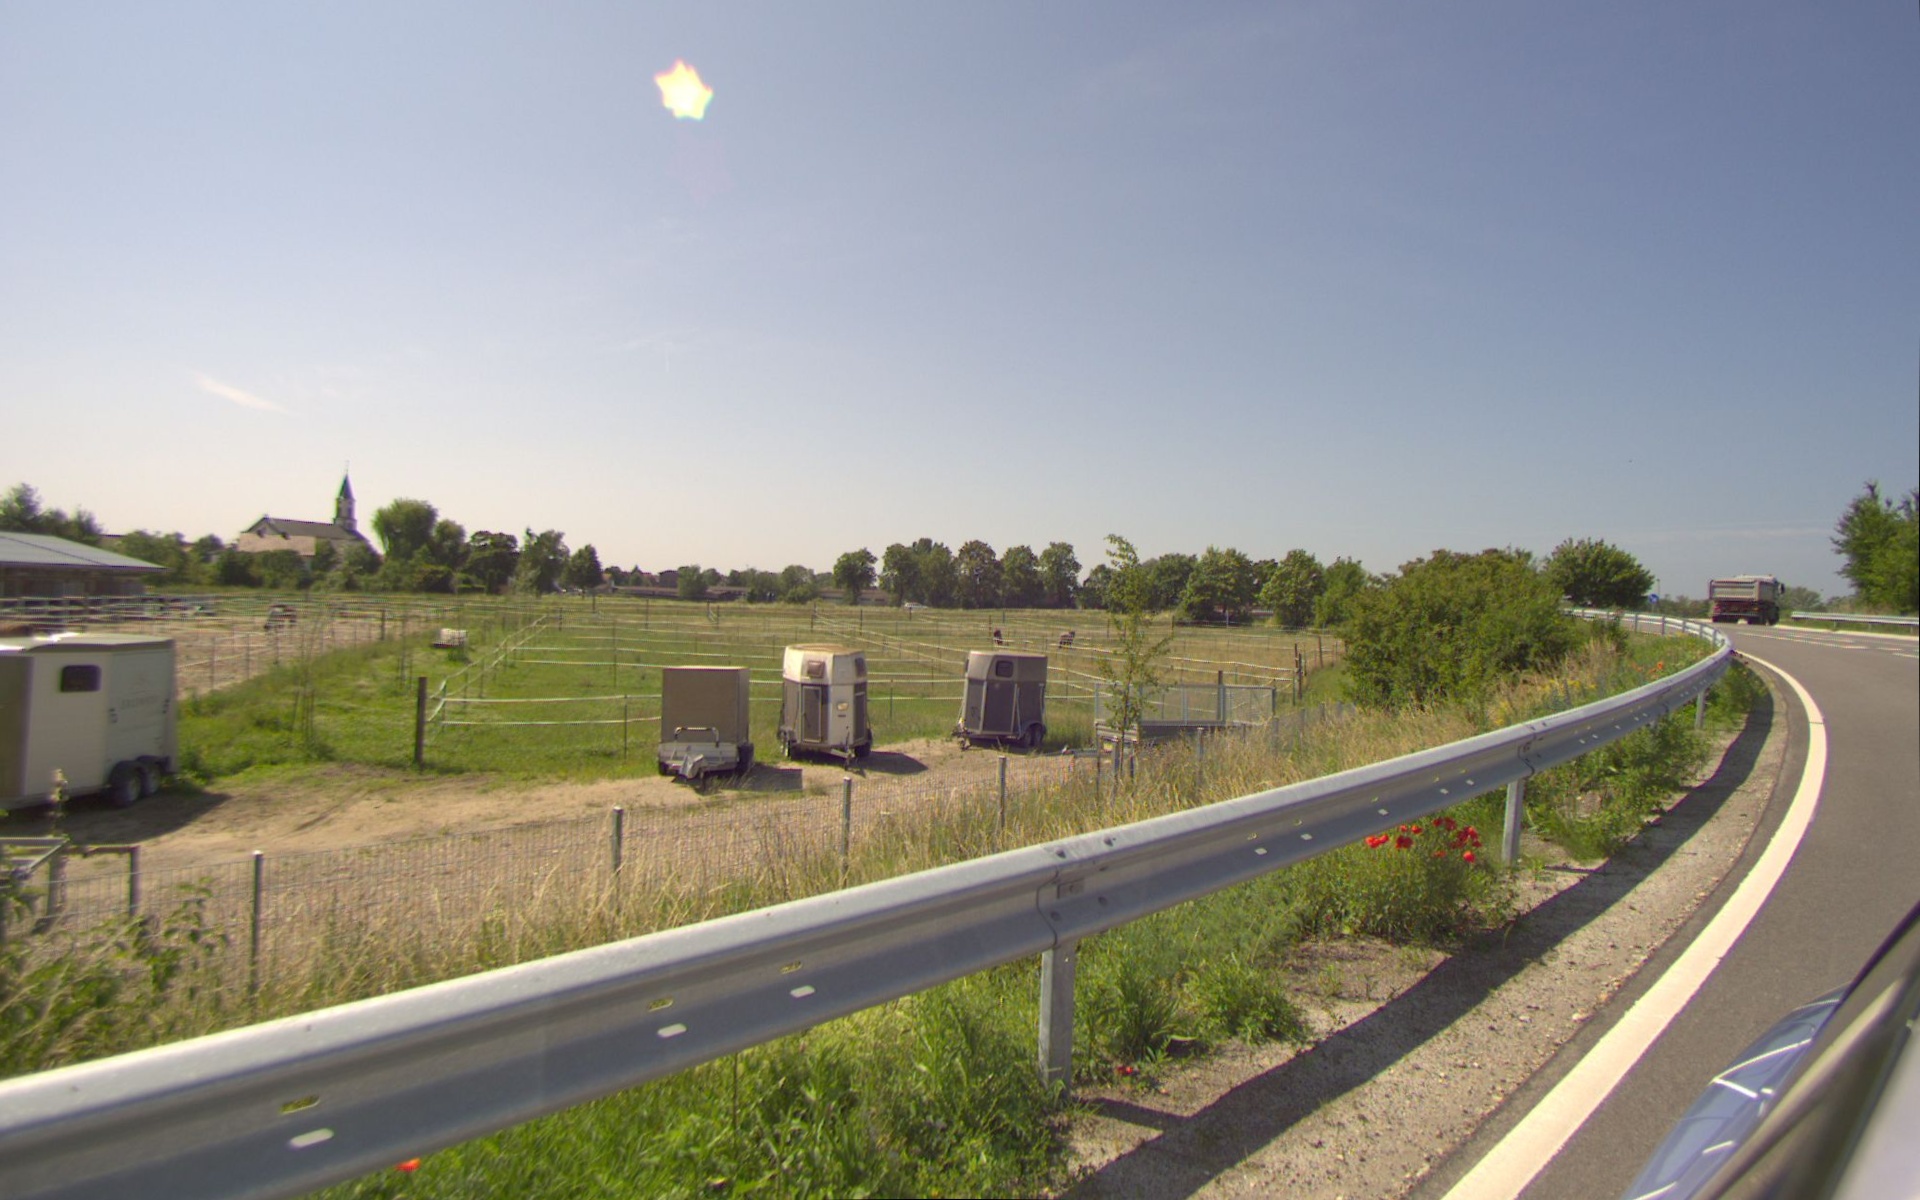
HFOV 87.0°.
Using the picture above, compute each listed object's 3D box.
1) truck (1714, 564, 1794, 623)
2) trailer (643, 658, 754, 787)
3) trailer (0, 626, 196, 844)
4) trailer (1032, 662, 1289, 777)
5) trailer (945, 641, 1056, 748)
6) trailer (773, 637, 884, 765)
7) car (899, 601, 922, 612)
[{"bbox_3d":[51.012,-0.428,64.902,8.054,3.584,2.819,-1,0,-43],"label":"truck"},{"bbox_3d":[-5.612,2.557,22.187,1.965,2.422,4.099,1,-2,-10],"label":"trailer"},{"bbox_3d":[-14.553,1.892,15.993,2.162,2.722,5.199,2,0,-17],"label":"trailer"},{"bbox_3d":[5.069,2.905,25.707,5.924,2.410,2.586,0,0,-21],"label":"trailer"},{"bbox_3d":[1.252,2.711,29.970,1.980,2.841,3.346,3,-2,26],"label":"trailer"},{"bbox_3d":[-3.428,2.453,25.787,2.119,2.840,3.428,1,0,-19],"label":"trailer"},{"bbox_3d":[-8.848,1.182,181.213,4.209,2.039,2.001,0,0,-1],"label":"car"}]
